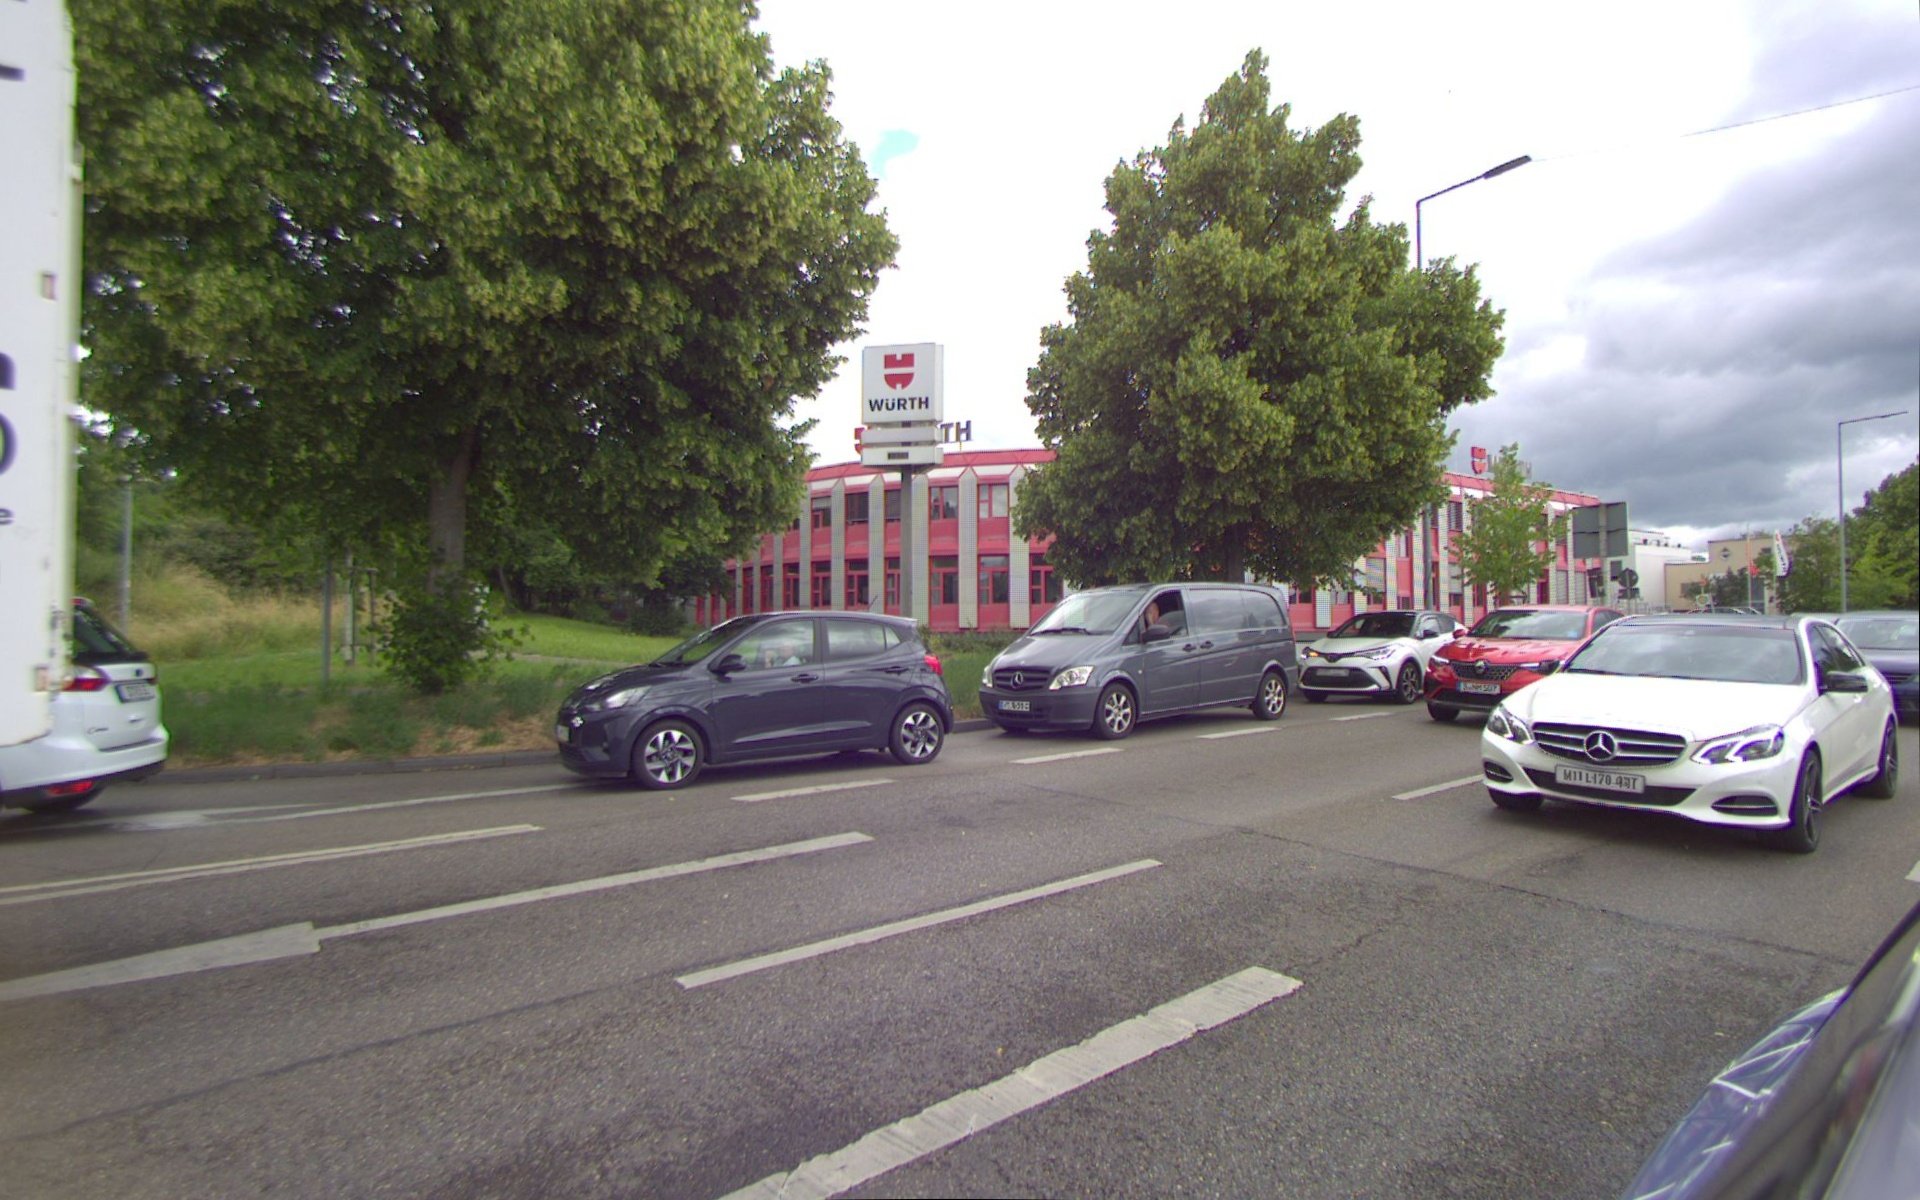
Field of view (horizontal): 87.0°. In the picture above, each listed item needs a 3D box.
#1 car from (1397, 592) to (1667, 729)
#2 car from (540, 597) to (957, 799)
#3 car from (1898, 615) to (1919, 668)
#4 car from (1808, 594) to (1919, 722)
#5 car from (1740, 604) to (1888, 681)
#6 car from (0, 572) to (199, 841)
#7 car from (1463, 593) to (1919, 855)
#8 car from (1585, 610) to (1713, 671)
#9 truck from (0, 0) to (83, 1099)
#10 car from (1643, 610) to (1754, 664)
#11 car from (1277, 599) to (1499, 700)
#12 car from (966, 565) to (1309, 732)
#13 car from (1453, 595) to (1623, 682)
[{"bbox_3d":[7.798,0.719,13.620,4.299,1.549,1.850,1,-1,-41],"label":"car"},{"bbox_3d":[-1.917,0.755,9.490,3.495,1.525,1.608,-1,0,-34],"label":"car"},{"bbox_3d":[30.024,1.240,30.730,4.323,1.469,1.774,-1,1,-40],"label":"car"},{"bbox_3d":[13.625,0.731,14.516,3.927,1.618,1.667,-1,0,-41],"label":"car"},{"bbox_3d":[19.558,0.895,23.125,4.142,1.549,1.798,-1,0,-38],"label":"car"},{"bbox_3d":[-7.839,0.673,6.573,4.278,1.676,1.767,0,-1,-20],"label":"car"},{"bbox_3d":[5.699,0.676,7.679,4.240,1.429,1.803,-1,1,-39],"label":"car"},{"bbox_3d":[18.154,1.009,26.599,4.293,1.458,1.761,0,-1,-41],"label":"car"},{"bbox_3d":[-7.280,-0.619,0.691,10.002,3.953,2.808,0,0,-41],"label":"truck"},{"bbox_3d":[21.764,1.034,29.770,4.293,1.458,1.761,0,-1,-41],"label":"car"},{"bbox_3d":[7.391,0.800,17.314,4.034,1.536,1.842,0,-4,-41],"label":"car"},{"bbox_3d":[2.413,0.617,13.059,4.591,1.799,1.761,1,-5,-40],"label":"car"},{"bbox_3d":[12.375,0.805,21.574,4.133,1.679,1.863,1,-3,-41],"label":"car"}]
